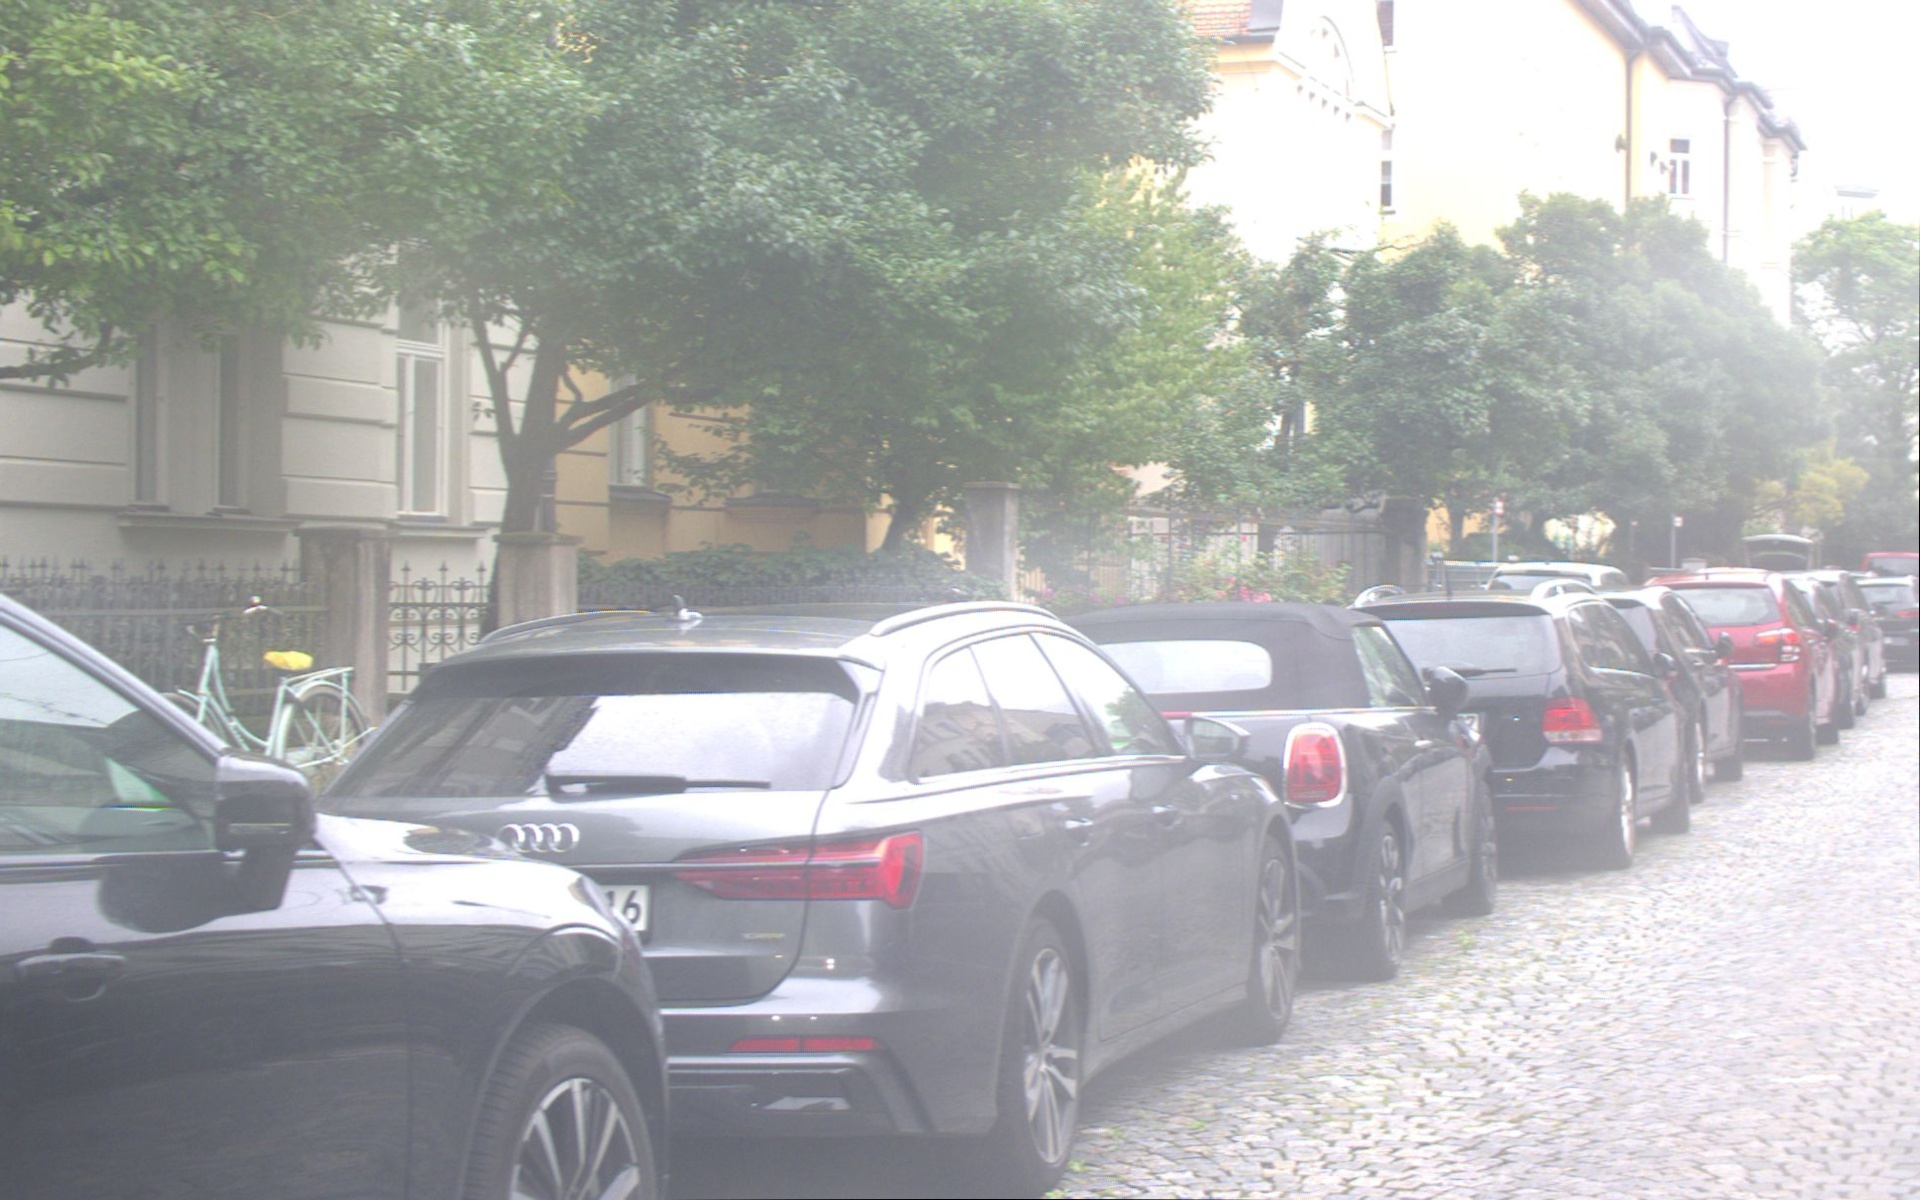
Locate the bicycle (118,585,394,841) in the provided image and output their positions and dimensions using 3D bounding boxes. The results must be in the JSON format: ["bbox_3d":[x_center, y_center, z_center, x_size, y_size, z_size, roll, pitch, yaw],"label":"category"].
[{"bbox_3d":[-3.309,0.501,16.324,0.363,1.129,1.886,2,1,18],"label":"bicycle"}]

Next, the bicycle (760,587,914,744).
[{"bbox_3d":[-0.831,0.431,23.688,0.418,1.024,1.763,2,1,19],"label":"bicycle"}]

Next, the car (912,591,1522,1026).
[{"bbox_3d":[1.203,0.756,14.294,1.705,1.511,3.724,-1,0,17],"label":"car"}]

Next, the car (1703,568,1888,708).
[{"bbox_3d":[9.645,0.410,39.545,1.662,1.529,3.481,0,0,21],"label":"car"}]

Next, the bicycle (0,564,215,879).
[{"bbox_3d":[-3.862,0.480,14.350,0.501,1.244,1.977,2,1,18],"label":"bicycle"}]

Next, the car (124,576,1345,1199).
[{"bbox_3d":[-0.251,0.719,9.870,1.806,1.499,5.174,-2,0,16],"label":"car"}]

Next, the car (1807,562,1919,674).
[{"bbox_3d":[14.043,0.264,52.617,1.923,1.630,3.736,1,0,16],"label":"car"}]

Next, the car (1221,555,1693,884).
[{"bbox_3d":[2.825,0.590,18.691,1.728,1.535,4.332,-3,-1,19],"label":"car"}]

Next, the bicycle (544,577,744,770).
[{"bbox_3d":[-1.888,0.418,20.794,0.371,1.098,1.831,2,1,23],"label":"bicycle"}]

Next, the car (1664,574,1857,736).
[{"bbox_3d":[7.790,0.516,33.320,1.433,1.455,2.648,-3,-1,20],"label":"car"}]

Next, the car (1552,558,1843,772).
[{"bbox_3d":[6.303,0.524,29.078,1.923,1.630,3.802,-3,-1,19],"label":"car"}]

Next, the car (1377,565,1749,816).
[{"bbox_3d":[4.289,0.594,23.970,1.923,1.541,3.996,-3,-1,18],"label":"car"}]

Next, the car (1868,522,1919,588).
[{"bbox_3d":[25.040,-1.170,90.545,1.923,1.630,3.736,-3,-1,18],"label":"car"}]

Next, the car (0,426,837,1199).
[{"bbox_3d":[-1.994,0.648,4.879,1.939,1.646,5.049,-3,-1,19],"label":"car"}]

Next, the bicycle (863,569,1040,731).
[{"bbox_3d":[-0.047,0.358,25.359,0.419,1.139,1.761,2,1,31],"label":"bicycle"}]
